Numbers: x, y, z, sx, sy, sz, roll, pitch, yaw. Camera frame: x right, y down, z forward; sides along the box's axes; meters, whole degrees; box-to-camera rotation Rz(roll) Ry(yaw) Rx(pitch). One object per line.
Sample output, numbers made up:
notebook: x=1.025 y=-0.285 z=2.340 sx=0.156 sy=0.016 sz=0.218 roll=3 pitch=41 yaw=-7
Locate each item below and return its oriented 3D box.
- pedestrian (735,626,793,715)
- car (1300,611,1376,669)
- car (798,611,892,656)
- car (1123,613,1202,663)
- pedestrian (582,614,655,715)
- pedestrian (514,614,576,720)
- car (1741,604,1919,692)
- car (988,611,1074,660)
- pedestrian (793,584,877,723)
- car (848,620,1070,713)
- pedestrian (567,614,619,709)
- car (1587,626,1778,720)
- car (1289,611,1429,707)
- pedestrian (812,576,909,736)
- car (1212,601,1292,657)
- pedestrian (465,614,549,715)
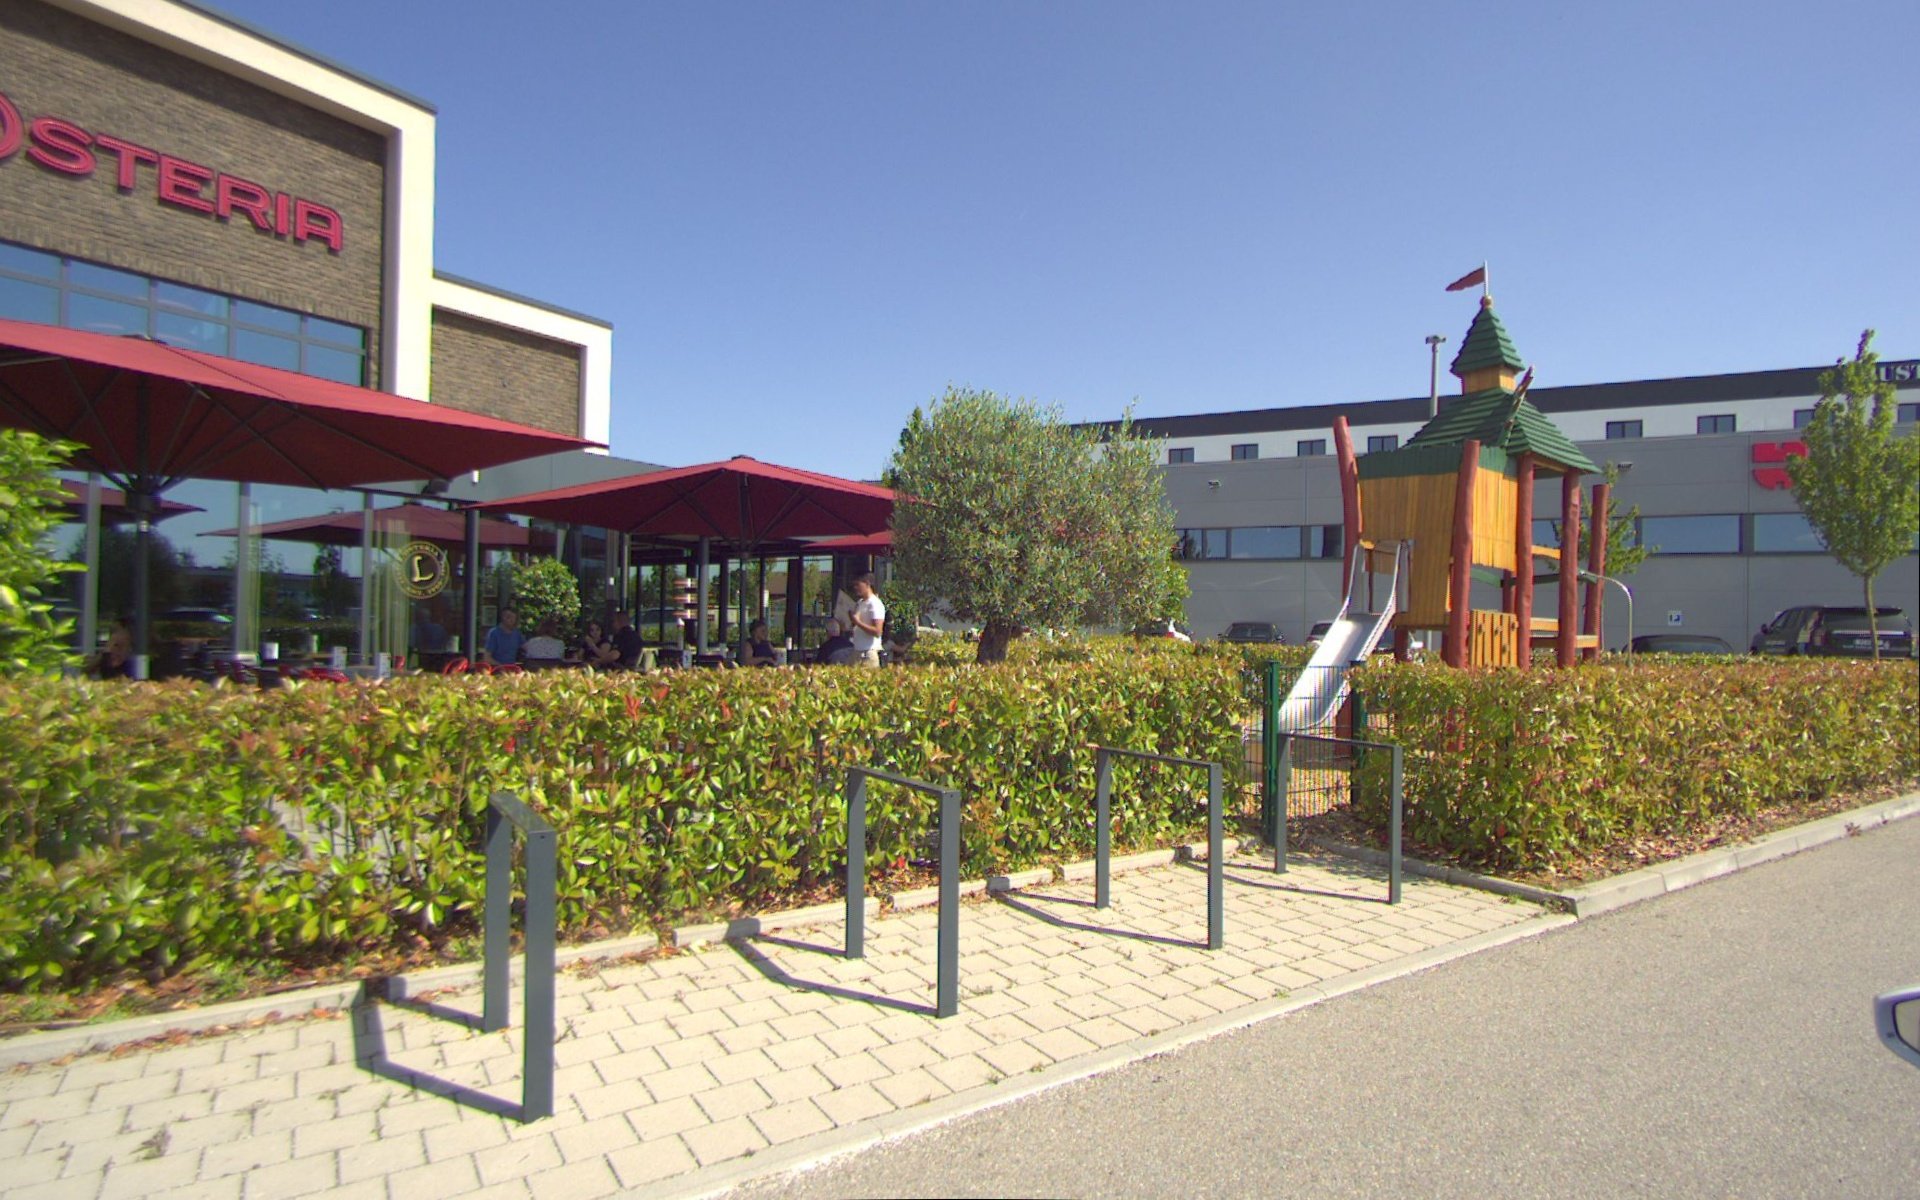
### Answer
pedestrian: x=-2.532 y=0.891 z=12.969 sx=0.540 sy=1.104 sz=0.572 roll=1 pitch=-1 yaw=-39
car: x=11.499 y=1.154 z=30.372 sx=1.916 sy=1.607 sz=4.374 roll=0 pitch=-1 yaw=24
car: x=-4.201 y=1.207 z=37.150 sx=1.615 sy=1.588 sz=3.677 roll=0 pitch=-1 yaw=29
car: x=6.624 y=1.180 z=32.538 sx=1.704 sy=1.507 sz=3.949 roll=0 pitch=-1 yaw=24
pedestrian: x=-4.273 y=0.785 z=12.571 sx=0.700 sy=1.214 sz=0.613 roll=0 pitch=-1 yaw=43
pedestrian: x=-4.896 y=0.773 z=11.885 sx=0.607 sy=1.214 sz=0.707 roll=0 pitch=-1 yaw=-18
car: x=20.831 y=1.071 z=24.265 sx=2.038 sy=1.905 sz=4.875 roll=0 pitch=-1 yaw=25
car: x=2.481 y=1.166 z=34.258 sx=1.704 sy=1.588 sz=3.949 roll=0 pitch=-1 yaw=24
pedestrian: x=-1.522 y=0.640 z=12.326 sx=0.770 sy=1.636 sz=0.763 roll=0 pitch=-1 yaw=18
car: x=0.100 y=0.999 z=16.353 sx=1.622 sy=1.326 sz=3.825 roll=-1 pitch=-2 yaw=38
pedestrian: x=-4.872 y=0.793 z=13.322 sx=0.608 sy=1.214 sz=0.706 roll=0 pitch=-1 yaw=-24
car: x=12.409 y=1.163 z=17.564 sx=1.833 sy=1.380 sz=4.374 roll=0 pitch=-1 yaw=24
car: x=7.497 y=0.992 z=18.626 sx=1.918 sy=1.551 sz=4.369 roll=0 pitch=-1 yaw=29
pedestrian: x=-1.115 y=0.608 z=11.275 sx=0.773 sy=1.710 sz=0.759 roll=0 pitch=-1 yaw=38
car: x=9.104 y=0.851 z=31.078 sx=1.849 sy=1.607 sz=4.106 roll=0 pitch=-1 yaw=24
pedestrian: x=-5.641 y=0.779 z=12.524 sx=0.697 sy=1.214 sz=0.667 roll=0 pitch=-1 yaw=28
